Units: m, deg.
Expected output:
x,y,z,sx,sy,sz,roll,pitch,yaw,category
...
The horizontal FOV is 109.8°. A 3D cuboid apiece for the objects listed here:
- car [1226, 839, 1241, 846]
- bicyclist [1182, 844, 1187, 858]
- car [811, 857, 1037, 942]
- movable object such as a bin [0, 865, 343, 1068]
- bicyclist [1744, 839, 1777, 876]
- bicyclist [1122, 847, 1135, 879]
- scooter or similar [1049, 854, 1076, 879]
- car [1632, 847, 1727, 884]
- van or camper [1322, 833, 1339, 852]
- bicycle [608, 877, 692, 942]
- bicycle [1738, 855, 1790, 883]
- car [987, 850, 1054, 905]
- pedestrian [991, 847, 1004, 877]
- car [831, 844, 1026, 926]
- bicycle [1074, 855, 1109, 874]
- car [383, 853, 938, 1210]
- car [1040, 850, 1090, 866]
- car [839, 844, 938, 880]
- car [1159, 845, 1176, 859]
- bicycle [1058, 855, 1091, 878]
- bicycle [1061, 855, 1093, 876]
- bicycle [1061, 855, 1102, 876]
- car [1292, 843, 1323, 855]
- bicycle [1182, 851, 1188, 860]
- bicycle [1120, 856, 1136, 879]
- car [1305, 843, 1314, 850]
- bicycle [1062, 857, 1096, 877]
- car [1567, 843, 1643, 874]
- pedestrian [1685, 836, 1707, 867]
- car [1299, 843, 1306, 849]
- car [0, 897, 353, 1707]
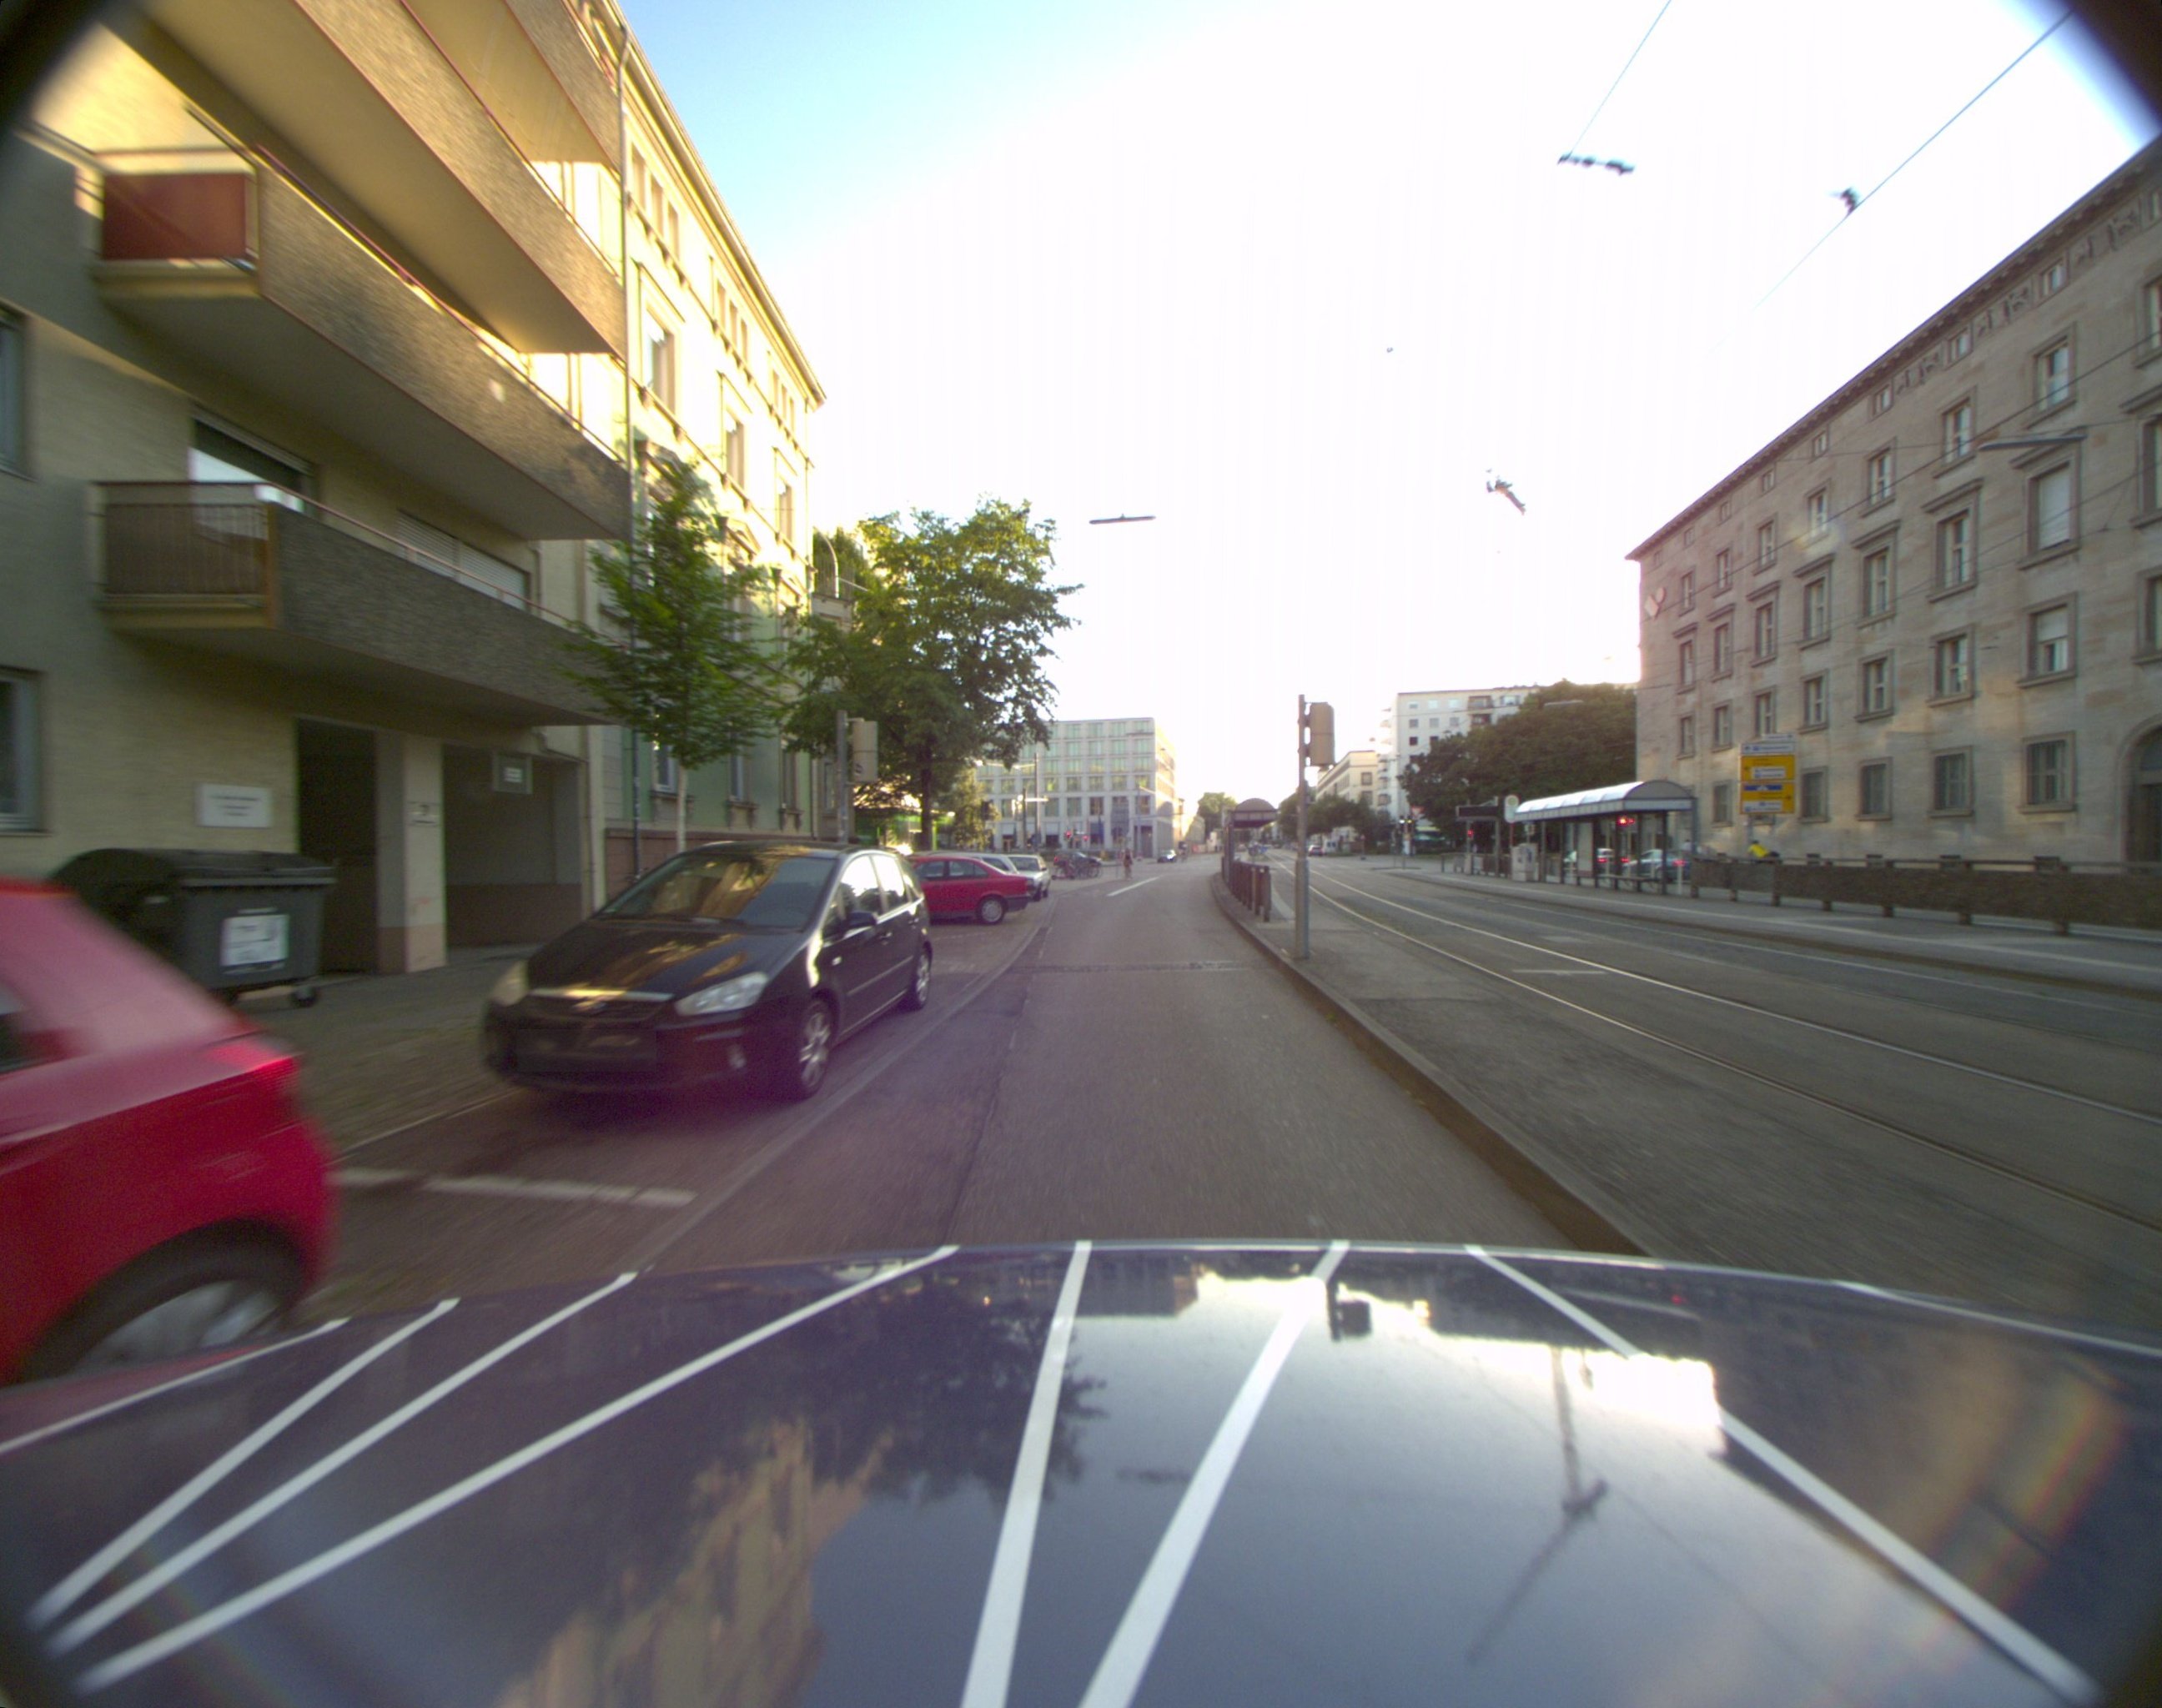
x,y,z,sx,sy,sz,roll,pitch,yaw,category
38.551,-2.920,191.972,3.803,1.639,1.865,-1,1,12,car
12.206,-0.327,89.308,0.540,1.626,0.597,0,1,13,bicyclist
-3.161,0.836,15.565,4.216,1.446,1.641,-1,1,-31,car
-7.653,0.868,6.536,1.116,1.493,1.481,-1,1,-1,movable object such as a bin
26.401,0.131,29.537,0.757,1.432,0.597,-1,1,13,bicyclist
2.390,0.443,38.254,0.609,1.626,0.597,-1,1,8,bicyclist
-0.940,0.639,38.469,1.201,1.218,0.591,1,2,13,scooter or similar
24.623,0.446,31.402,1.645,1.419,3.708,-1,1,13,car
39.063,-1.772,119.138,2.108,2.665,4.716,-1,-1,15,van or camper
-7.940,0.996,14.074,0.652,1.068,1.556,-1,1,-1,bicycle
26.370,0.568,29.355,0.743,1.012,1.762,-1,1,13,bicycle
-1.896,0.702,24.812,1.684,1.544,4.000,2,1,2,car
-5.007,0.477,45.701,0.708,1.758,0.989,-1,1,-2,pedestrian
-3.614,0.664,18.202,4.216,1.715,1.718,-1,1,-30,car
0.614,0.606,43.936,1.861,1.068,0.745,0,1,30,bicycle
-2.419,0.845,5.688,1.747,1.622,4.088,1,1,2,car
-1.409,0.353,68.667,4.165,1.412,1.700,0,1,14,car
-8.759,0.381,34.658,3.990,1.565,1.805,-1,0,12,car
10.521,-0.286,92.483,1.814,1.514,4.813,-3,0,9,car
-0.341,0.671,39.422,1.528,1.156,0.745,-1,1,14,bicycle
-0.206,0.616,40.476,1.553,1.068,0.745,-1,1,14,bicycle
0.037,0.659,43.036,2.233,1.126,0.745,0,1,14,bicycle
32.821,-0.738,110.232,1.889,1.654,4.336,-1,1,-27,car
12.217,0.131,89.327,0.539,1.045,1.762,-1,1,13,bicycle
2.386,0.671,38.236,0.609,1.108,2.087,-1,1,9,bicycle
49.356,-1.556,163.982,1.720,1.422,3.814,-1,1,16,car
-0.113,0.722,42.195,1.757,1.068,0.745,-1,1,14,bicycle
25.908,0.172,37.702,1.645,1.419,4.236,-1,1,13,car
33.250,-0.136,41.078,0.696,1.700,0.647,-1,1,16,pedestrian
53.276,-1.908,182.947,1.720,1.422,3.814,-1,1,16,car
-2.923,0.917,0.299,1.568,1.527,3.693,1,1,4,car
